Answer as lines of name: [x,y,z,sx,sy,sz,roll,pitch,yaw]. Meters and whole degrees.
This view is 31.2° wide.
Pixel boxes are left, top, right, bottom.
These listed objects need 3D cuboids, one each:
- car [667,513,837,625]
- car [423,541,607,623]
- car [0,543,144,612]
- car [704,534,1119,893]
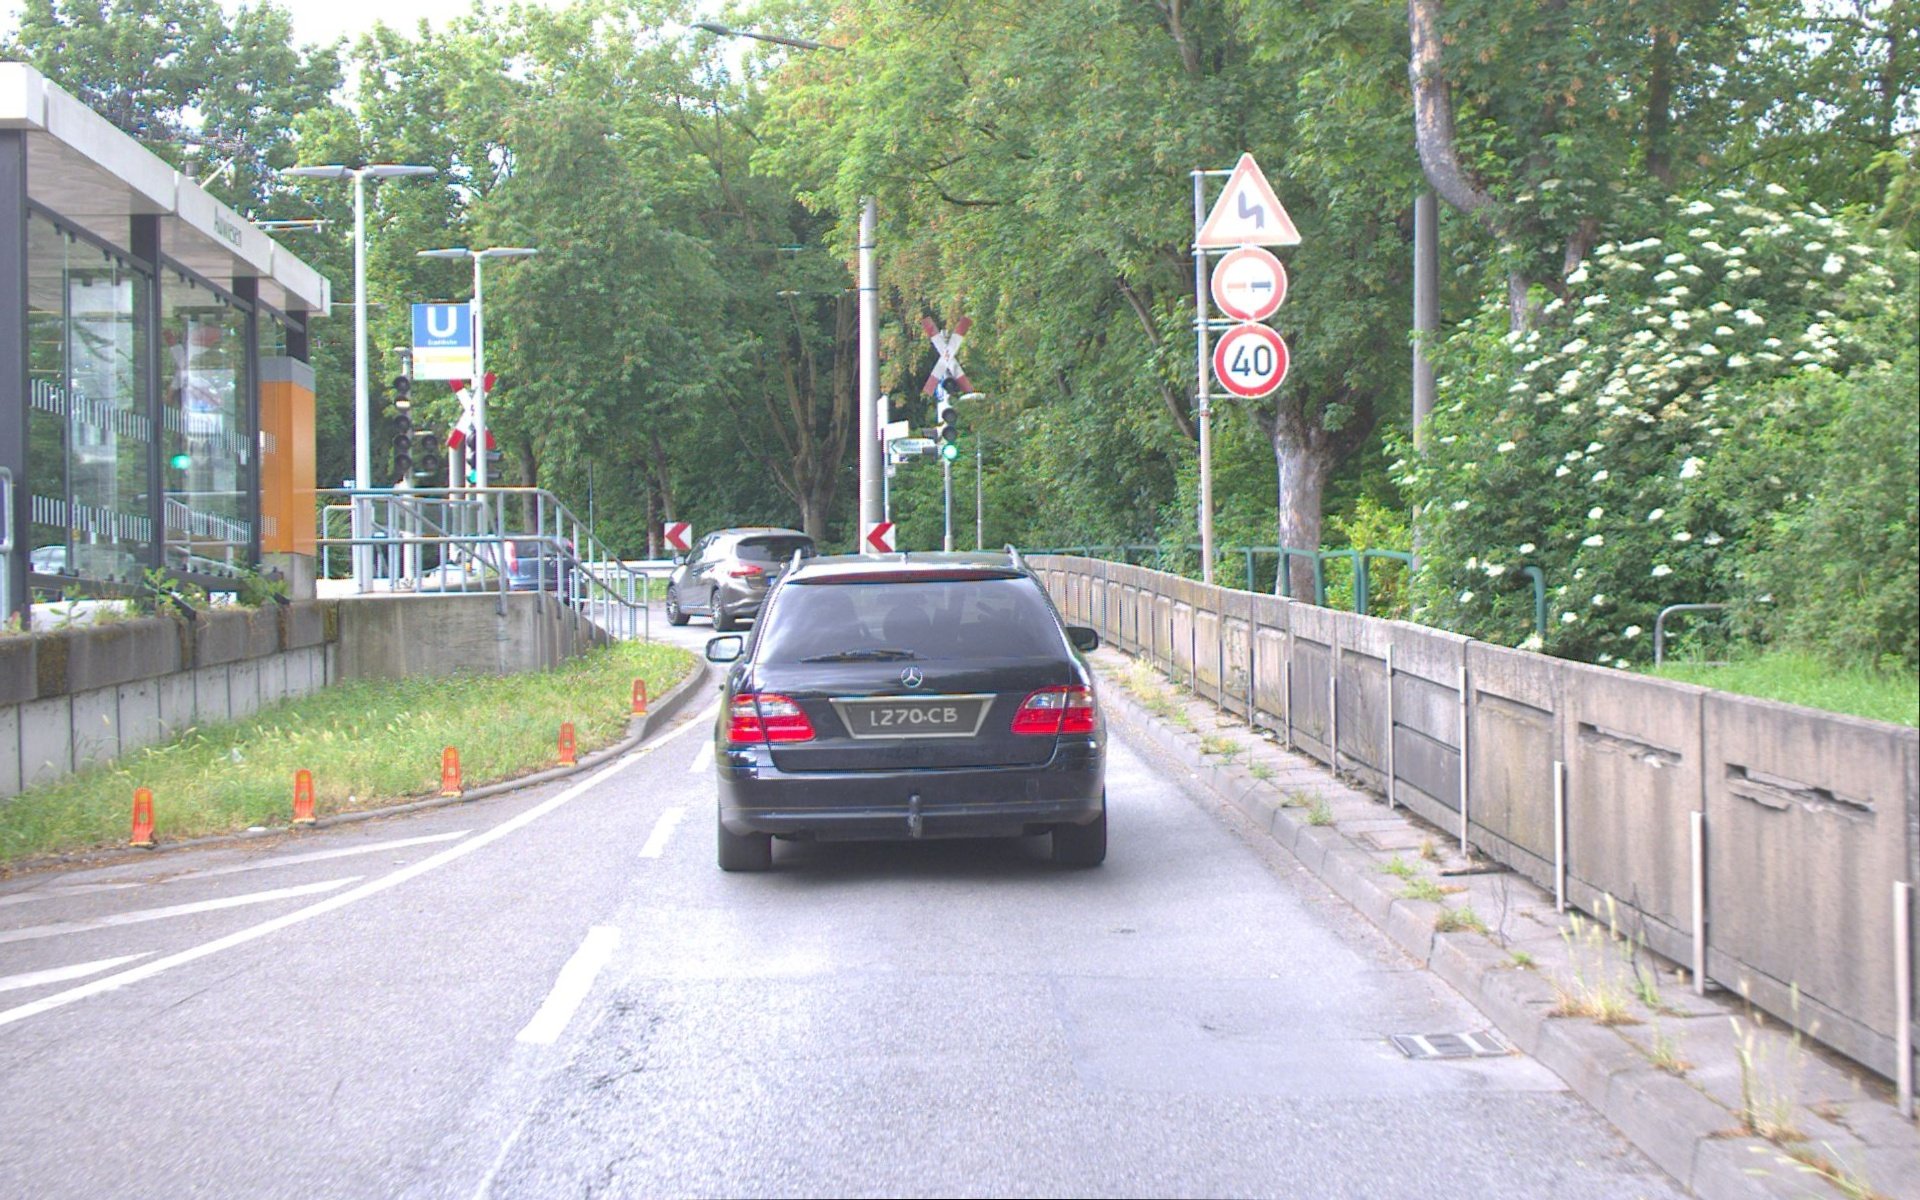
car: [-3.207,-0.488,52.351,1.781,1.642,4.001,0,1,-15]
car: [-8.085,-0.349,62.165,1.993,1.394,4.001,-1,2,-28]
car: [-19.116,-0.490,72.103,3.997,1.394,1.995,1,2,43]
car: [-0.218,0.450,16.745,1.782,1.520,4.000,0,1,0]
